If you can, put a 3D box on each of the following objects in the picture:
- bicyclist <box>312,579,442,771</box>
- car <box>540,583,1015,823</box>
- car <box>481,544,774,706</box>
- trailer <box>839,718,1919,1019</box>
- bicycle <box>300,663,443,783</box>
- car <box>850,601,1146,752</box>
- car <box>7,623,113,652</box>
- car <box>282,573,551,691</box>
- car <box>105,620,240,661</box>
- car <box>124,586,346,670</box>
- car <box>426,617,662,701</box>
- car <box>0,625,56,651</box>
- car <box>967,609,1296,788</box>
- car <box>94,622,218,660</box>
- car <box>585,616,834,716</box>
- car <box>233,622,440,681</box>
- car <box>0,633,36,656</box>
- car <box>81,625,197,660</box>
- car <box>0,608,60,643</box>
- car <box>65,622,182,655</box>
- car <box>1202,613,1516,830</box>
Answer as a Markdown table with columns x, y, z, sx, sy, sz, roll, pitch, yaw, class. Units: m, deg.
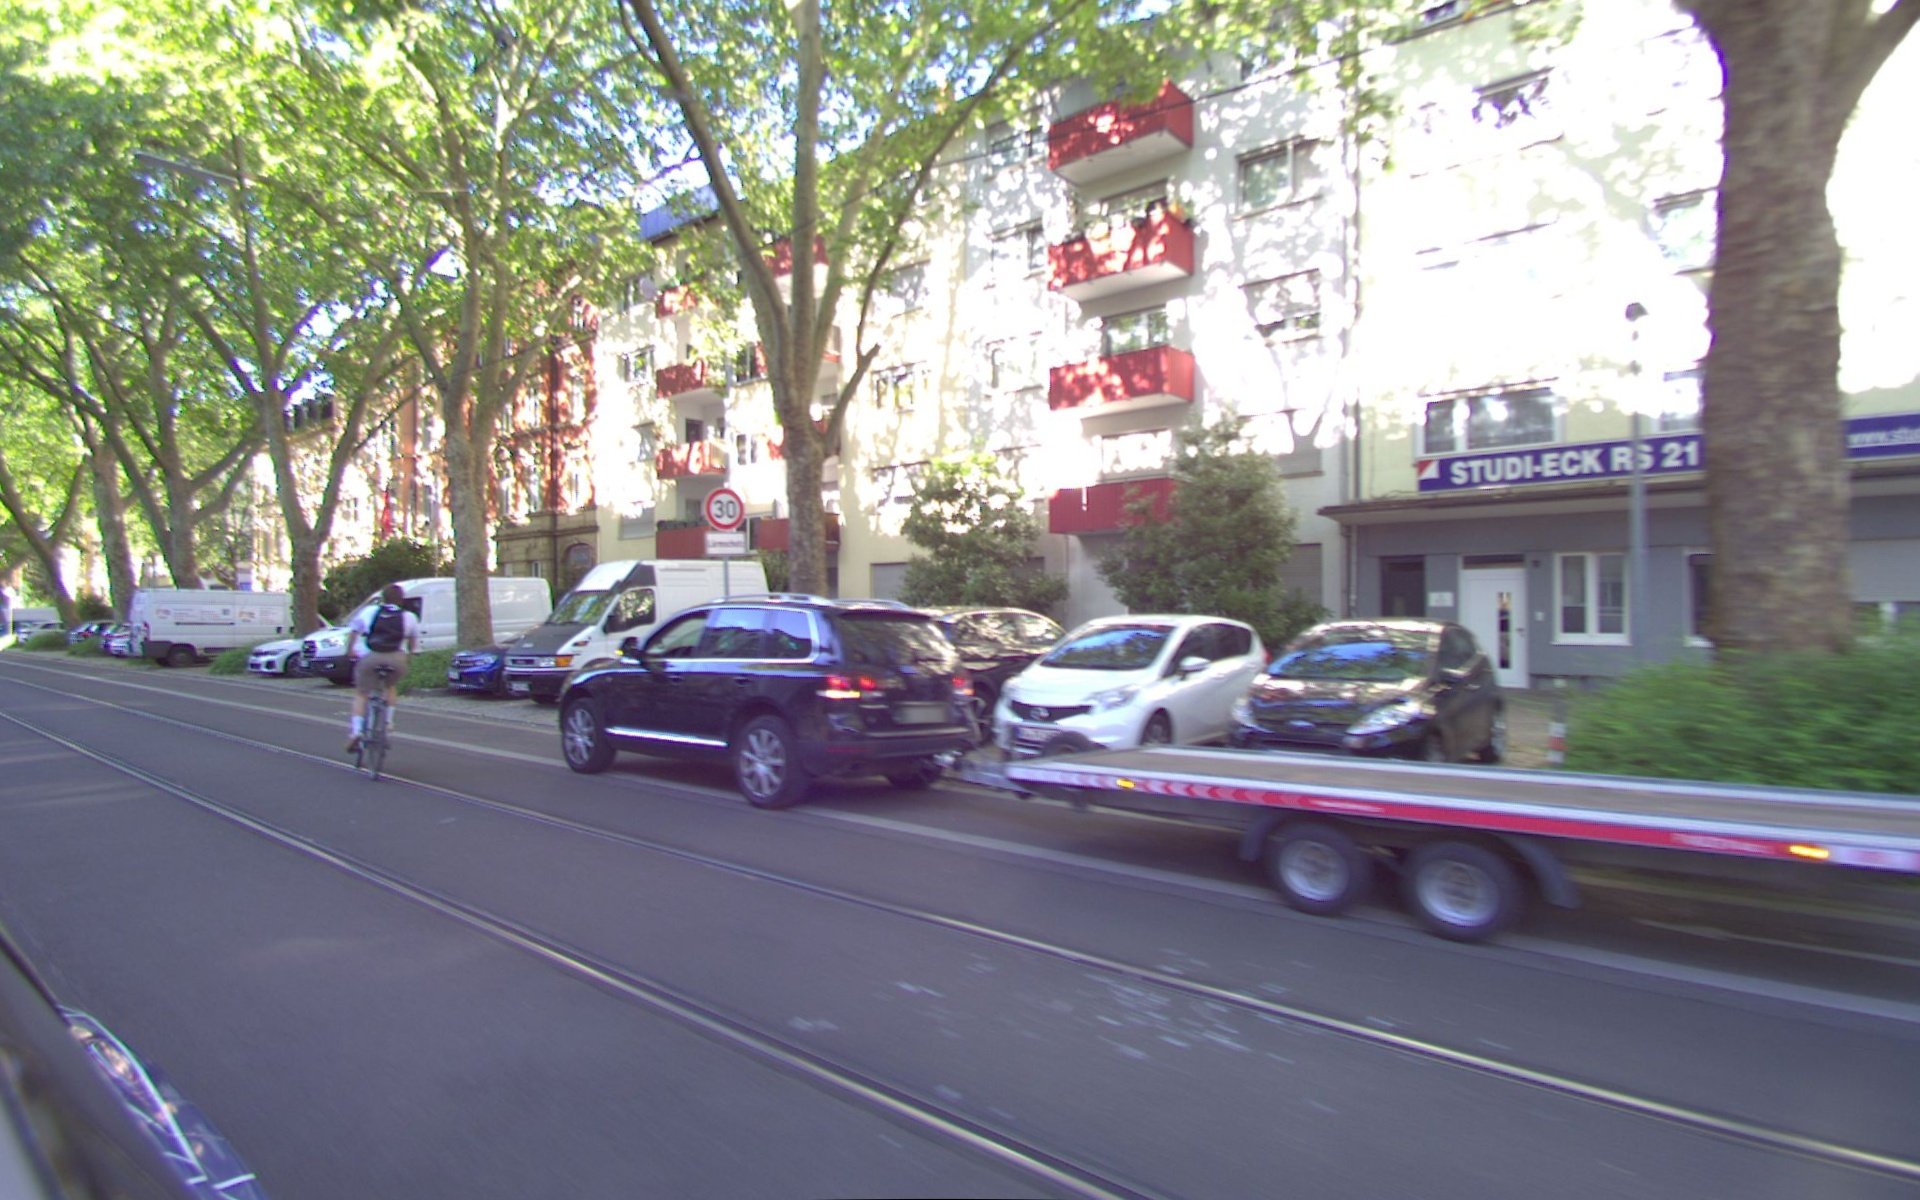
| x | y | z | sx | sy | sz | roll | pitch | yaw | class |
| --- | --- | --- | --- | --- | --- | --- | --- | --- | --- |
| -5.489 | 0.669 | 9.530 | 0.956 | 1.690 | 0.776 | -2 | -2 | 39 | bicyclist |
| -1.864 | 0.811 | 9.469 | 4.481 | 1.713 | 1.973 | -1 | -3 | 40 | car |
| -5.983 | 0.445 | 18.811 | 2.078 | 2.587 | 4.899 | -1 | -1 | 36 | car |
| 2.284 | 1.253 | 5.933 | 6.393 | 0.636 | 2.139 | -1 | -3 | 39 | trailer |
| -5.567 | 1.107 | 9.520 | 1.926 | 0.969 | 0.515 | -1 | -2 | 39 | bicycle |
| 0.636 | 0.869 | 13.220 | 1.892 | 1.660 | 3.948 | -1 | -1 | 39 | car |
| -47.482 | 1.946 | 53.421 | 1.877 | 1.471 | 3.947 | -1 | -1 | 39 | car |
| -12.805 | 0.714 | 24.189 | 2.055 | 2.496 | 5.305 | -1 | -1 | 40 | car |
| -31.014 | 1.556 | 39.942 | 1.829 | 1.507 | 3.945 | -1 | -1 | 41 | car |
| -23.955 | 0.871 | 33.655 | 2.161 | 2.555 | 5.682 | -2 | -1 | 40 | car |
| -8.224 | 1.098 | 20.240 | 1.871 | 1.477 | 3.977 | -1 | -1 | 41 | car |
| -63.717 | 2.560 | 67.915 | 1.813 | 1.725 | 4.279 | -1 | -1 | 37 | car |
| 1.986 | 0.878 | 10.813 | 1.769 | 1.533 | 3.948 | -1 | -1 | 39 | car |
| -33.036 | 1.643 | 41.666 | 1.703 | 1.471 | 3.754 | -1 | -1 | 41 | car |
| -4.190 | 1.037 | 17.348 | 1.858 | 1.489 | 3.816 | -1 | -1 | 39 | car |
| -16.627 | 1.309 | 27.145 | 1.932 | 1.395 | 4.365 | -1 | -1 | 40 | car |
| -66.089 | 3.065 | 69.450 | 1.745 | 1.529 | 3.734 | -1 | -1 | 37 | car |
| -37.613 | 1.916 | 46.427 | 1.704 | 1.471 | 3.944 | -1 | -1 | 42 | car |
| -70.606 | 1.909 | 74.265 | 1.999 | 2.426 | 6.535 | -2 | 0 | 40 | car |
| -39.643 | 1.774 | 48.040 | 1.764 | 1.471 | 3.958 | -1 | -1 | 31 | car |
| 3.719 | 0.900 | 9.125 | 1.784 | 1.542 | 3.398 | -1 | -1 | 37 | car |
